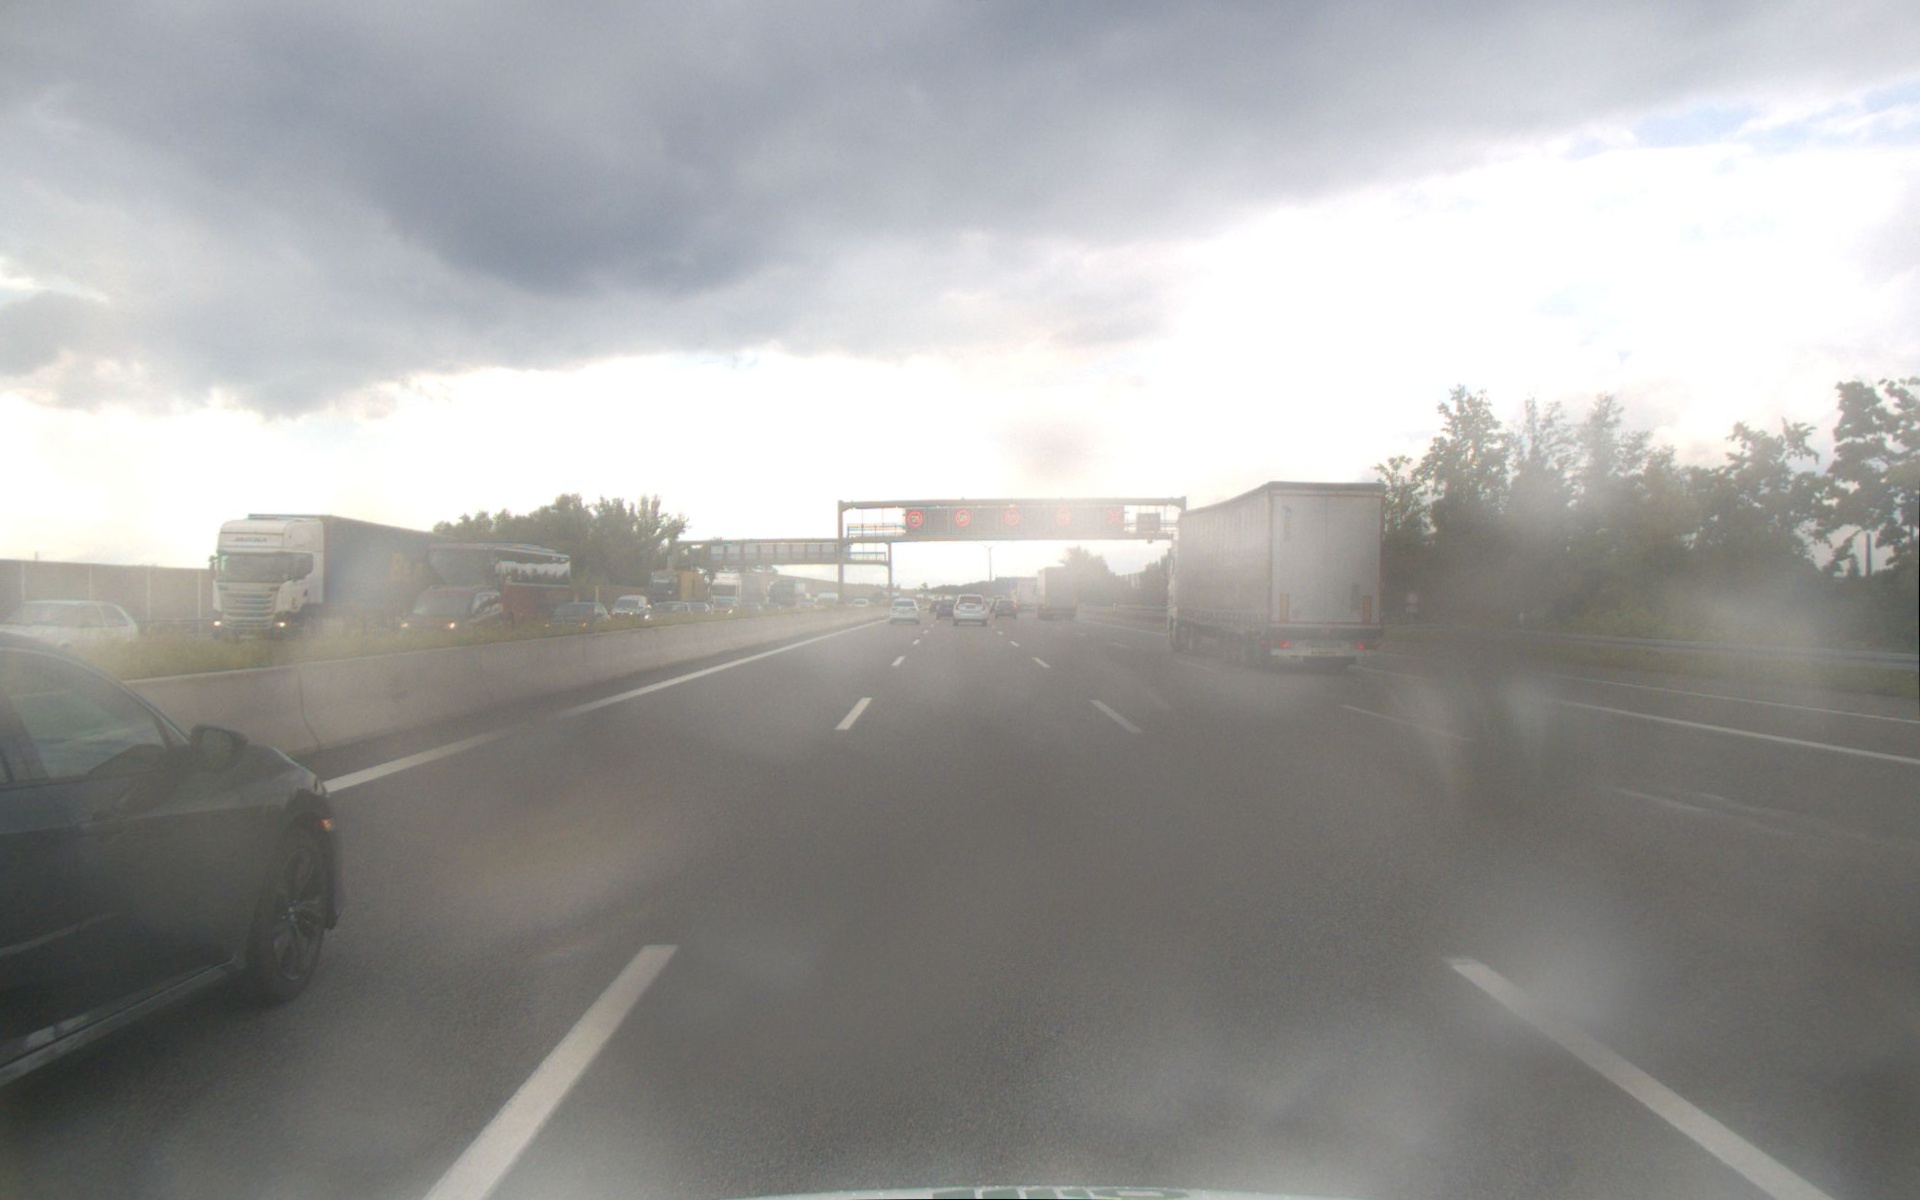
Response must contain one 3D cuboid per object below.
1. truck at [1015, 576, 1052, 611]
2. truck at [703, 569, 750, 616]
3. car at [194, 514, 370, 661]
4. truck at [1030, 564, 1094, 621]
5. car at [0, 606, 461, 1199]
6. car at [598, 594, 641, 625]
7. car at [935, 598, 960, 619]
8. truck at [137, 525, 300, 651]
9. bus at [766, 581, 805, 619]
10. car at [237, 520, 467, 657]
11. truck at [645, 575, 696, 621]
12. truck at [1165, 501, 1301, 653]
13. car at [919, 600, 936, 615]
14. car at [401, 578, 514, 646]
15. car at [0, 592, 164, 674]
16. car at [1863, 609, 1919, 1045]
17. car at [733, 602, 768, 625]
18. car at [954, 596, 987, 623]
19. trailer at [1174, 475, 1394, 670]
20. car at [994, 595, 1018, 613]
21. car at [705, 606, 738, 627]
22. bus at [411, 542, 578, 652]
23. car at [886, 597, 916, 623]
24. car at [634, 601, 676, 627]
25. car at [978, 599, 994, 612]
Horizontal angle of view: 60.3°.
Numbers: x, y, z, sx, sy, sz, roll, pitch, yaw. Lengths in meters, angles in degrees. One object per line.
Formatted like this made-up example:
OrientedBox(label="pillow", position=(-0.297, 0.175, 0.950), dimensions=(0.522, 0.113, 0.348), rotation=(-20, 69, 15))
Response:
OrientedBox(label="truck", position=(9.419, -0.841, 213.900), dimensions=(4.157, 4.249, 11.988), rotation=(1, 0, 0))
OrientedBox(label="truck", position=(-21.013, -0.644, 149.389), dimensions=(2.826, 4.031, 7.537), rotation=(1, 0, 2))
OrientedBox(label="car", position=(-20.793, -0.363, 51.129), dimensions=(2.922, 4.222, 6.041), rotation=(1, 0, -1))
OrientedBox(label="truck", position=(8.137, -0.585, 133.857), dimensions=(4.095, 4.363, 12.610), rotation=(1, 0, -1))
OrientedBox(label="car", position=(-3.190, 0.746, 5.166), dimensions=(1.724, 1.393, 5.060), rotation=(1, 0, 0))
OrientedBox(label="car", position=(-20.788, 0.570, 101.171), dimensions=(1.754, 1.770, 4.577), rotation=(1, 0, -1))
OrientedBox(label="car", position=(-0.925, 0.615, 122.701), dimensions=(1.736, 1.466, 4.054), rotation=(1, 0, -2))
OrientedBox(label="truck", position=(-26.392, -0.416, 59.215), dimensions=(2.841, 4.188, 6.621), rotation=(1, 0, -1))
OrientedBox(label="bus", position=(-17.429, 0.017, 165.795), dimensions=(2.599, 3.744, 10.635), rotation=(0, 0, 1))
OrientedBox(label="car", position=(-20.917, -0.357, 58.263), dimensions=(2.922, 4.196, 14.392), rotation=(1, 0, -1))
OrientedBox(label="truck", position=(-25.468, -0.153, 145.859), dimensions=(2.966, 4.002, 7.711), rotation=(0, 0, 1))
OrientedBox(label="truck", position=(7.829, -0.640, 48.297), dimensions=(2.900, 4.090, 6.589), rotation=(1, 0, 0))
OrientedBox(label="car", position=(-3.493, 0.798, 175.530), dimensions=(1.737, 1.466, 4.053), rotation=(1, 0, -2))
OrientedBox(label="car", position=(-13.428, 0.297, 44.423), dimensions=(1.751, 1.695, 4.295), rotation=(1, 0, -1))
OrientedBox(label="car", position=(-17.703, 0.601, 32.722), dimensions=(1.751, 1.480, 4.564), rotation=(1, 0, -1))
OrientedBox(label="car", position=(3.979, 0.771, 4.350), dimensions=(1.418, 1.466, 3.162), rotation=(0, 0, -2))
OrientedBox(label="car", position=(-13.634, 0.840, 107.906), dimensions=(1.751, 1.406, 4.860), rotation=(1, 0, -1))
OrientedBox(label="car", position=(0.583, 0.526, 94.549), dimensions=(1.736, 1.466, 4.054), rotation=(1, 0, -2))
OrientedBox(label="trailer", position=(7.770, -0.622, 42.012), dimensions=(2.900, 4.090, 14.119), rotation=(1, 0, 0))
OrientedBox(label="car", position=(3.697, 0.306, 133.668), dimensions=(1.798, 1.466, 4.055), rotation=(1, 0, 0))
OrientedBox(label="car", position=(-17.514, 1.190, 121.433), dimensions=(1.751, 1.406, 4.860), rotation=(1, 0, -1))
OrientedBox(label="bus", position=(-17.338, -0.108, 62.756), dimensions=(2.831, 3.674, 12.756), rotation=(1, 0, -1))
OrientedBox(label="car", position=(-3.420, 0.548, 96.468), dimensions=(1.736, 1.466, 3.873), rotation=(1, 0, -1))
OrientedBox(label="car", position=(-18.568, 0.837, 100.791), dimensions=(1.681, 1.451, 4.860), rotation=(1, 0, -1))
OrientedBox(label="car", position=(2.948, 0.627, 190.042), dimensions=(1.798, 1.466, 4.055), rotation=(1, 0, 0))
